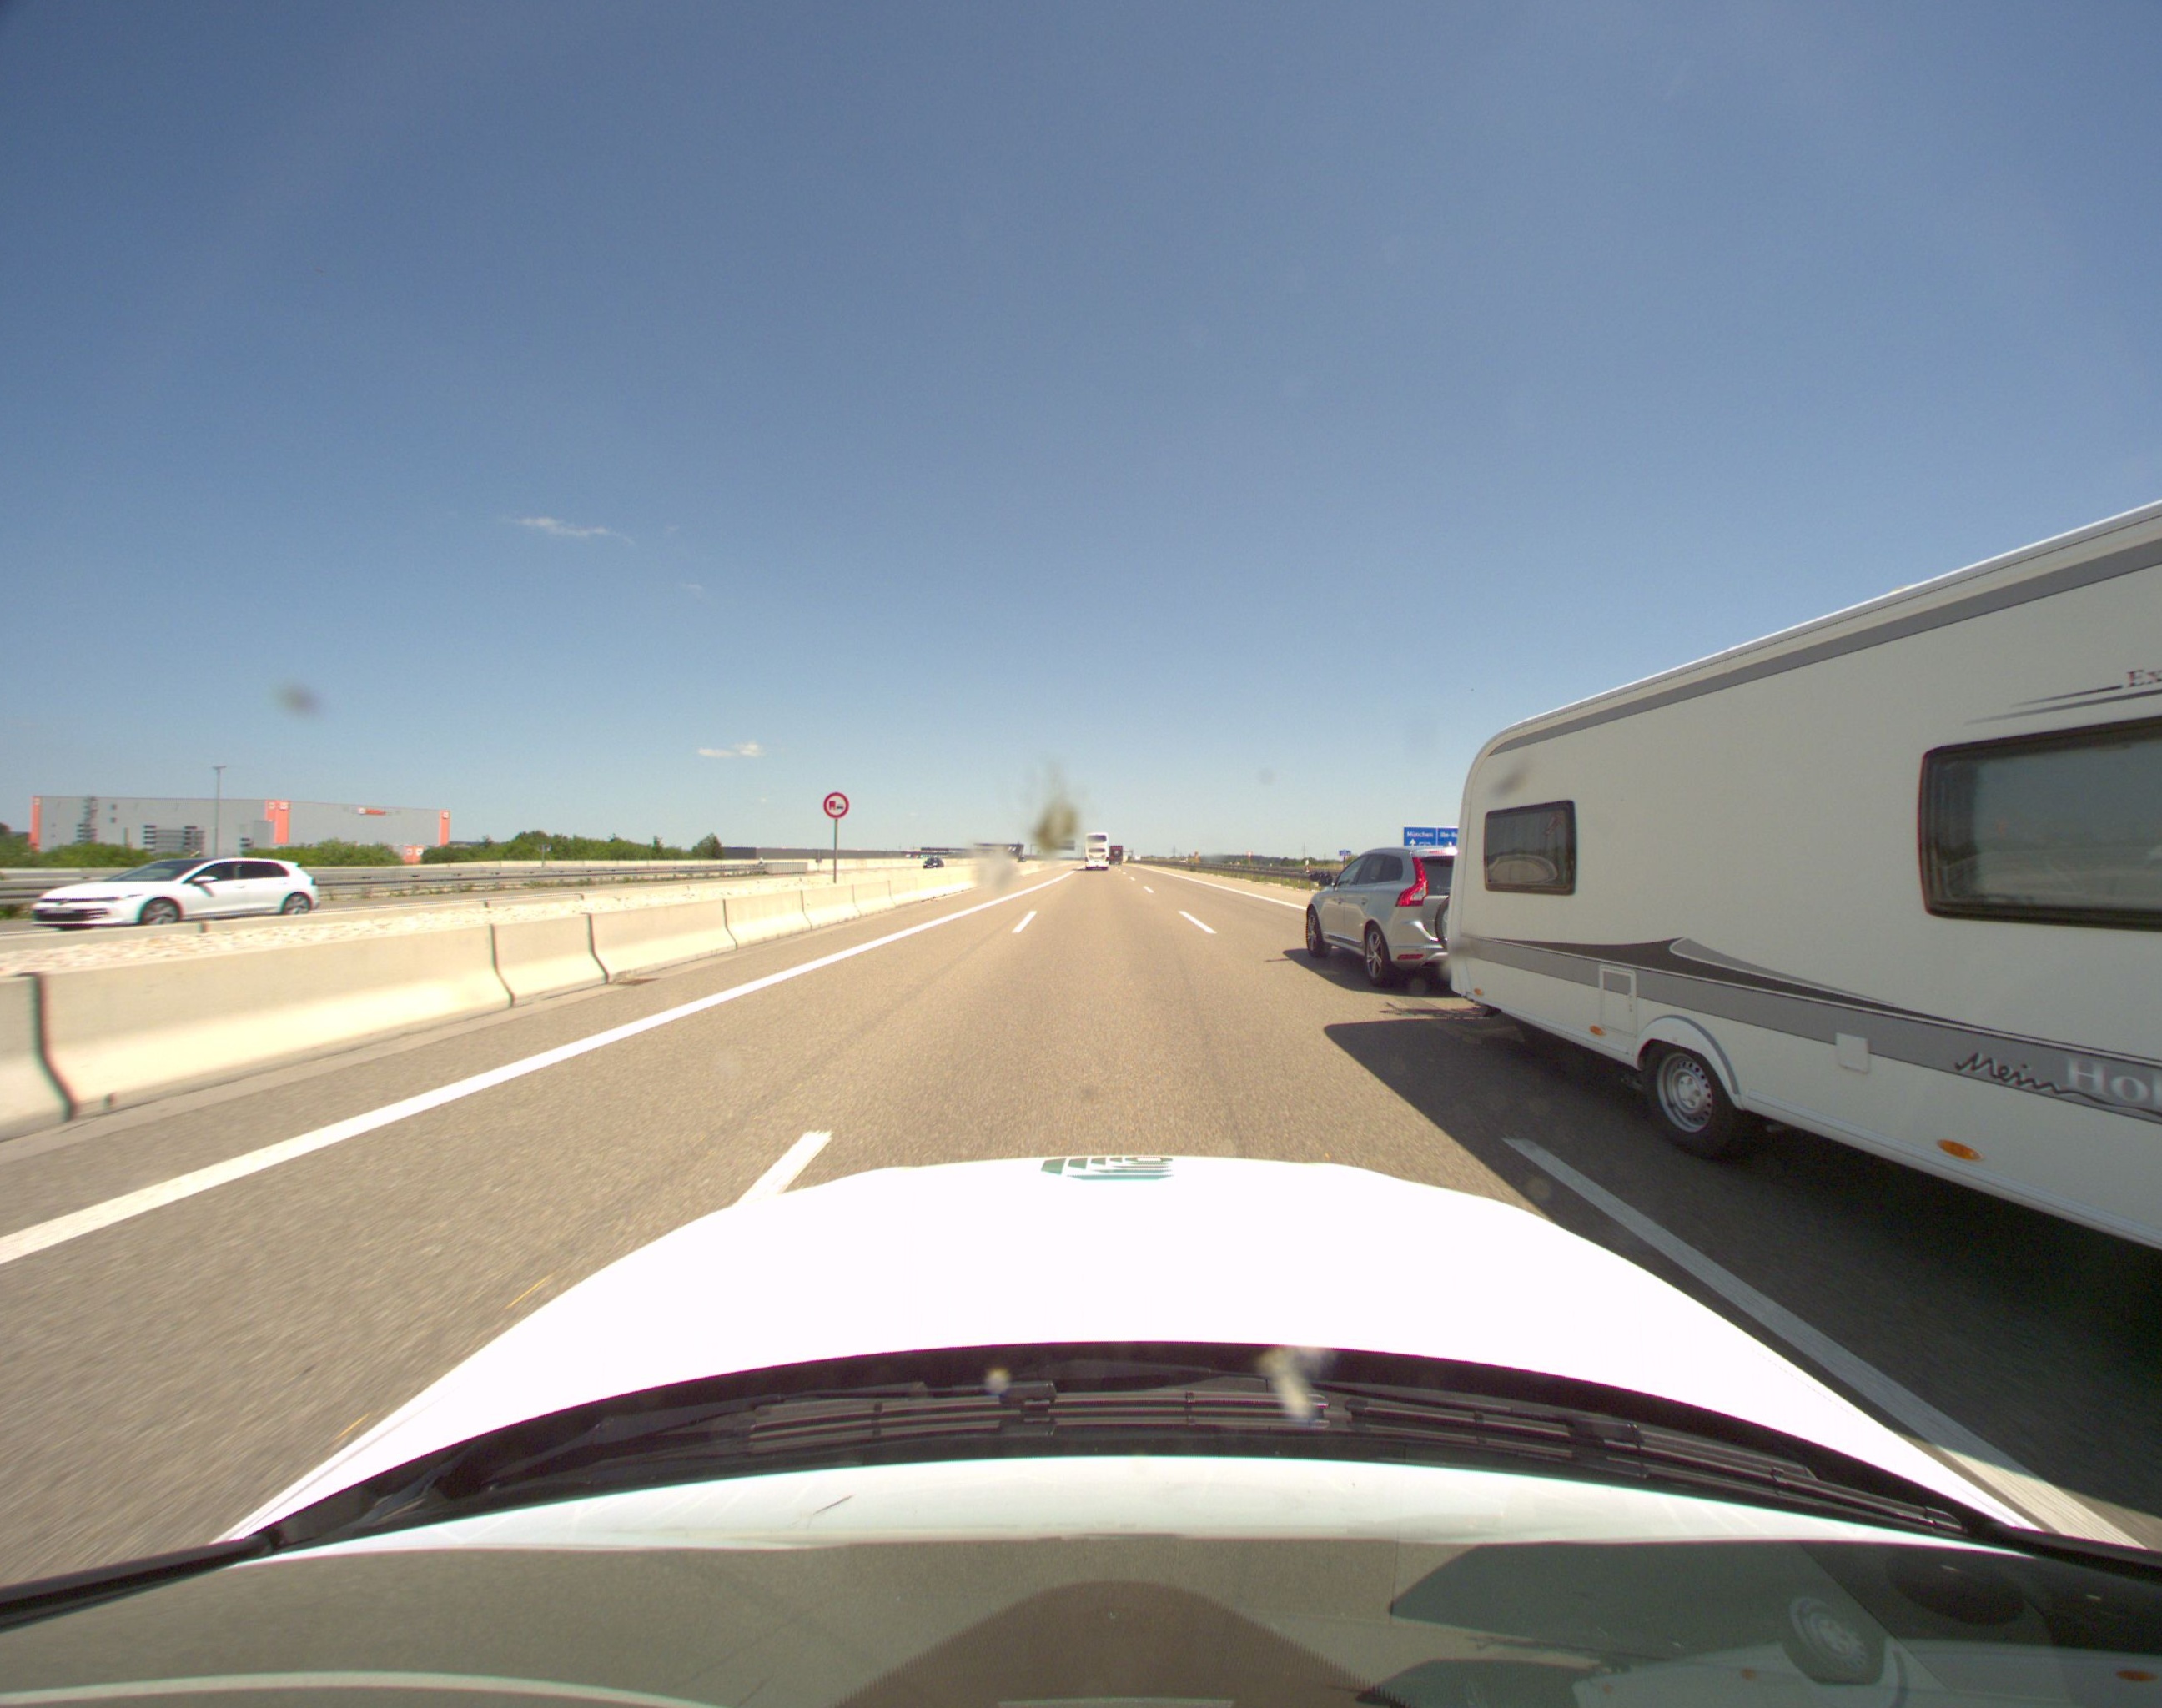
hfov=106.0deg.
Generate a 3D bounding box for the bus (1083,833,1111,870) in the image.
[{"bbox_3d":[1.719,-0.245,91.375,2.970,3.975,9.104,0,0,0],"label":"bus"}]

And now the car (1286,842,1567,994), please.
[{"bbox_3d":[4.295,0.685,11.129,1.874,1.623,4.905,0,0,1],"label":"car"}]

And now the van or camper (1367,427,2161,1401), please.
[{"bbox_3d":[4.189,0.152,4.705,2.503,2.593,7.819,0,0,1],"label":"van or camper"}]

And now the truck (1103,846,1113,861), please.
[{"bbox_3d":[6.967,-0.050,209.222,2.430,3.789,6.492,0,0,0],"label":"truck"}]

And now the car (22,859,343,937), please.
[{"bbox_3d":[-18.668,0.825,17.311,1.803,1.435,4.443,0,0,1],"label":"car"}]

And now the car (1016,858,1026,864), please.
[{"bbox_3d":[-14.462,1.648,197.363,1.904,1.420,4.551,0,0,1],"label":"car"}]

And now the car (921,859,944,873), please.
[{"bbox_3d":[-16.992,1.401,93.547,1.726,1.536,4.550,0,0,1],"label":"car"}]

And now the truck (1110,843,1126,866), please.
[{"bbox_3d":[8.056,0.209,178.452,3.366,4.465,13.572,1,-3,3],"label":"truck"}]
